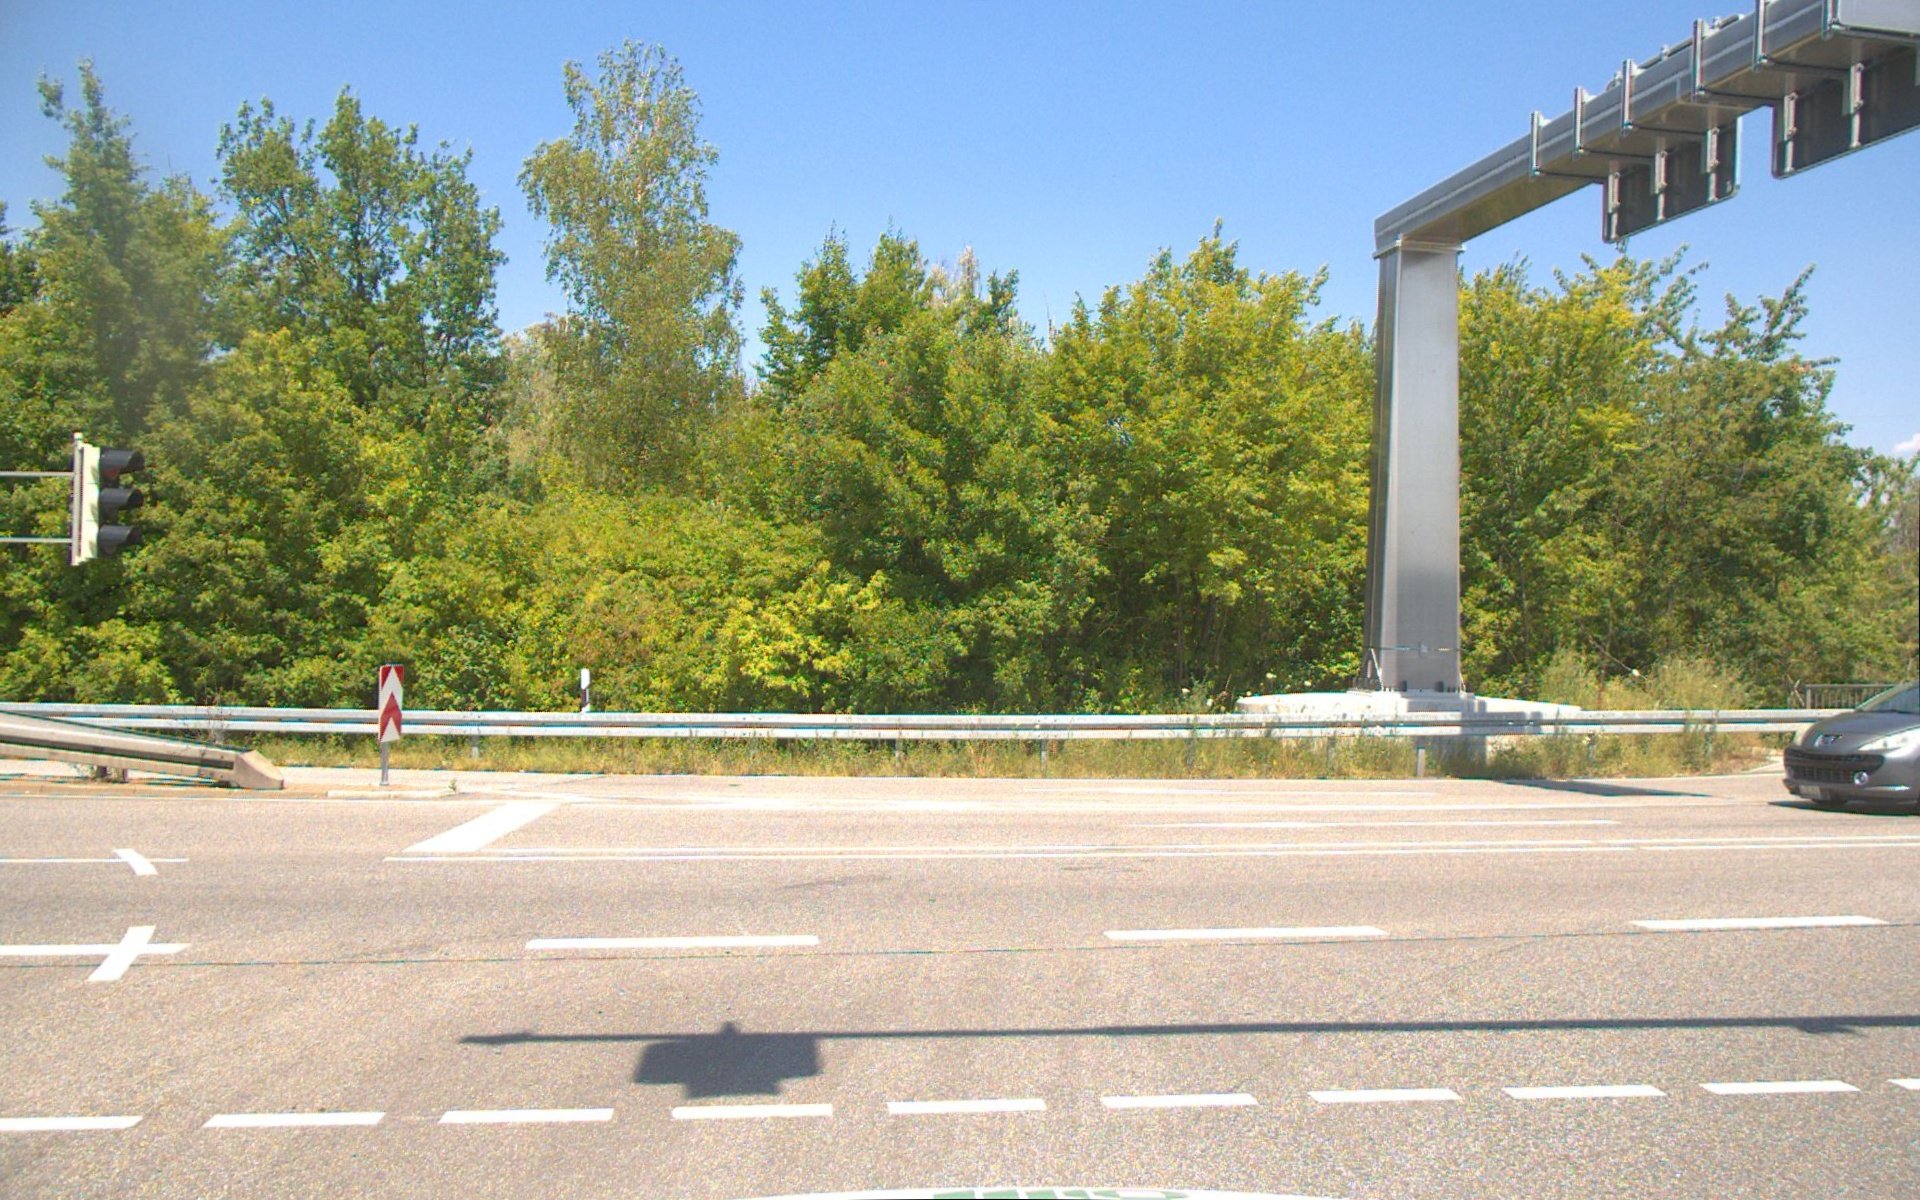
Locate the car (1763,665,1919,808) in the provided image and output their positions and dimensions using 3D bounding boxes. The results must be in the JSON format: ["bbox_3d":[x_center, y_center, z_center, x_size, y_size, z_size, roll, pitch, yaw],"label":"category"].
[{"bbox_3d":[10.608,1.387,17.241,3.889,1.376,1.644,1,-3,-15],"label":"car"}]
